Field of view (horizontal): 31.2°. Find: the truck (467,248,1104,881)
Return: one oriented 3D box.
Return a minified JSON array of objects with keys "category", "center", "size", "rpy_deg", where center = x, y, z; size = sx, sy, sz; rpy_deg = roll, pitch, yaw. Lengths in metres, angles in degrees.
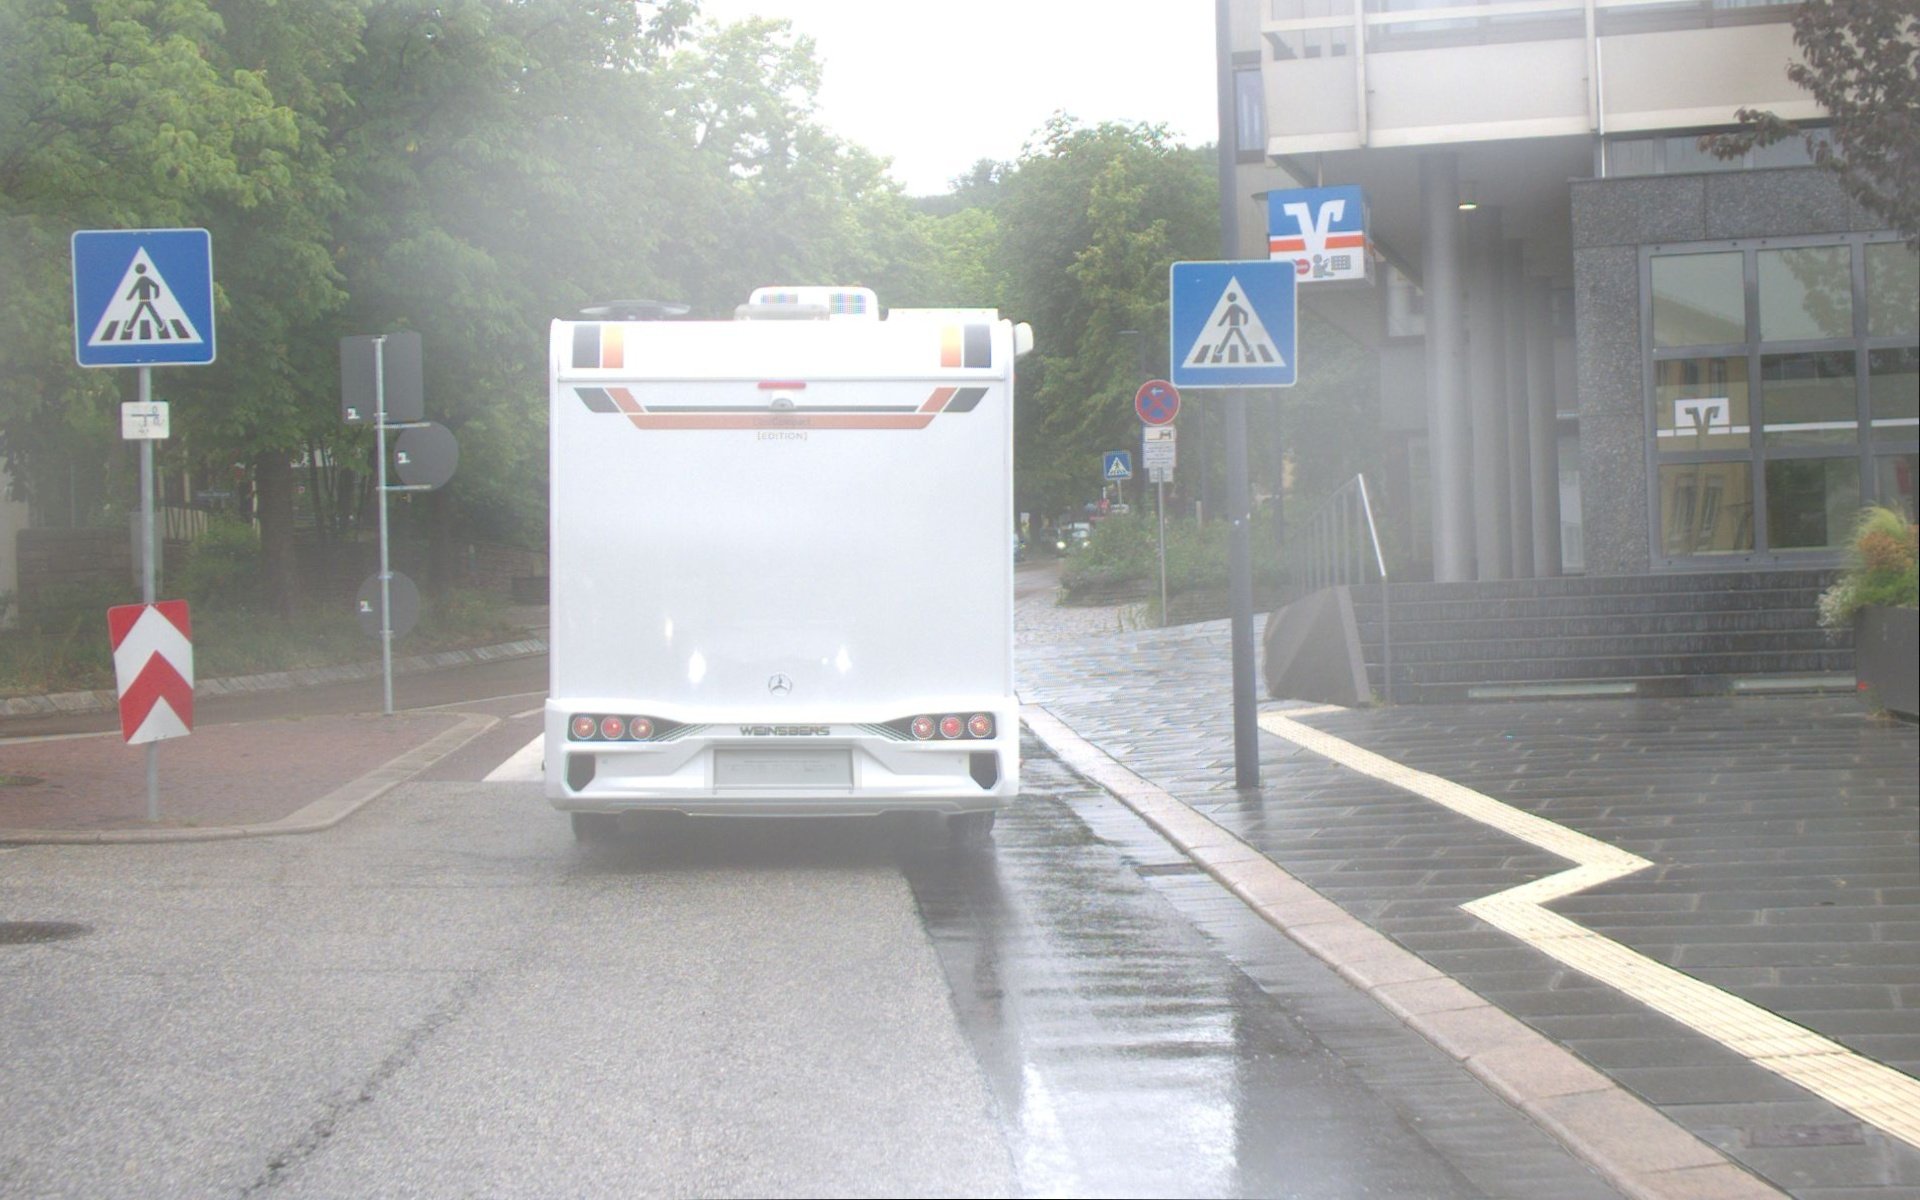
[{"category":"truck","center":[-0.900,-0.155,18.926],"size":[2.805,2.787,6.107],"rpy_deg":[-3,0,-2]}]
